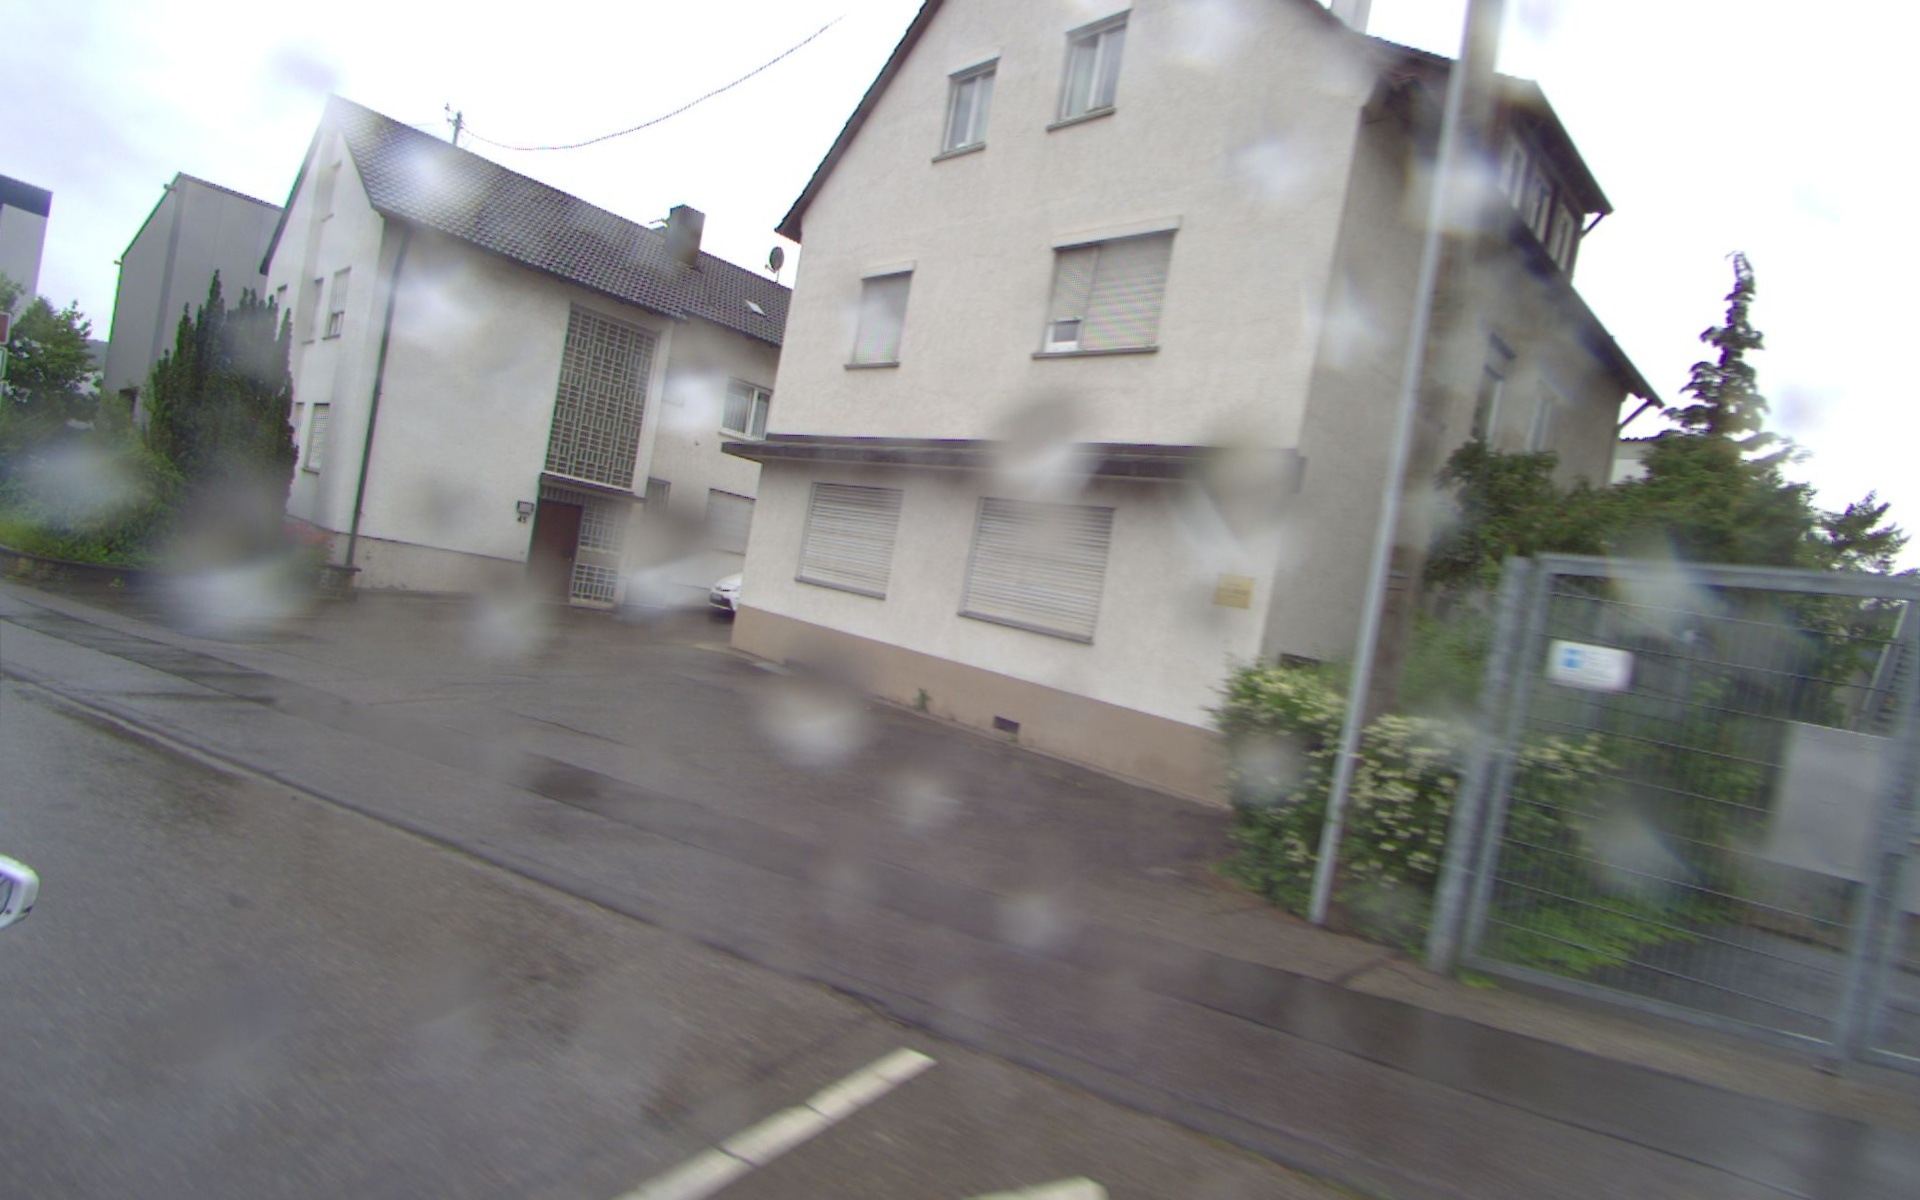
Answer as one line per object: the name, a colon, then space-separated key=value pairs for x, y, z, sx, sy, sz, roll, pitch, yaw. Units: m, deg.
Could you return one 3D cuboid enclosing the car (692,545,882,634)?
car: x=-4.274 y=-0.239 z=25.273 sx=4.267 sy=1.619 sz=1.781 roll=7 pitch=3 yaw=-42
